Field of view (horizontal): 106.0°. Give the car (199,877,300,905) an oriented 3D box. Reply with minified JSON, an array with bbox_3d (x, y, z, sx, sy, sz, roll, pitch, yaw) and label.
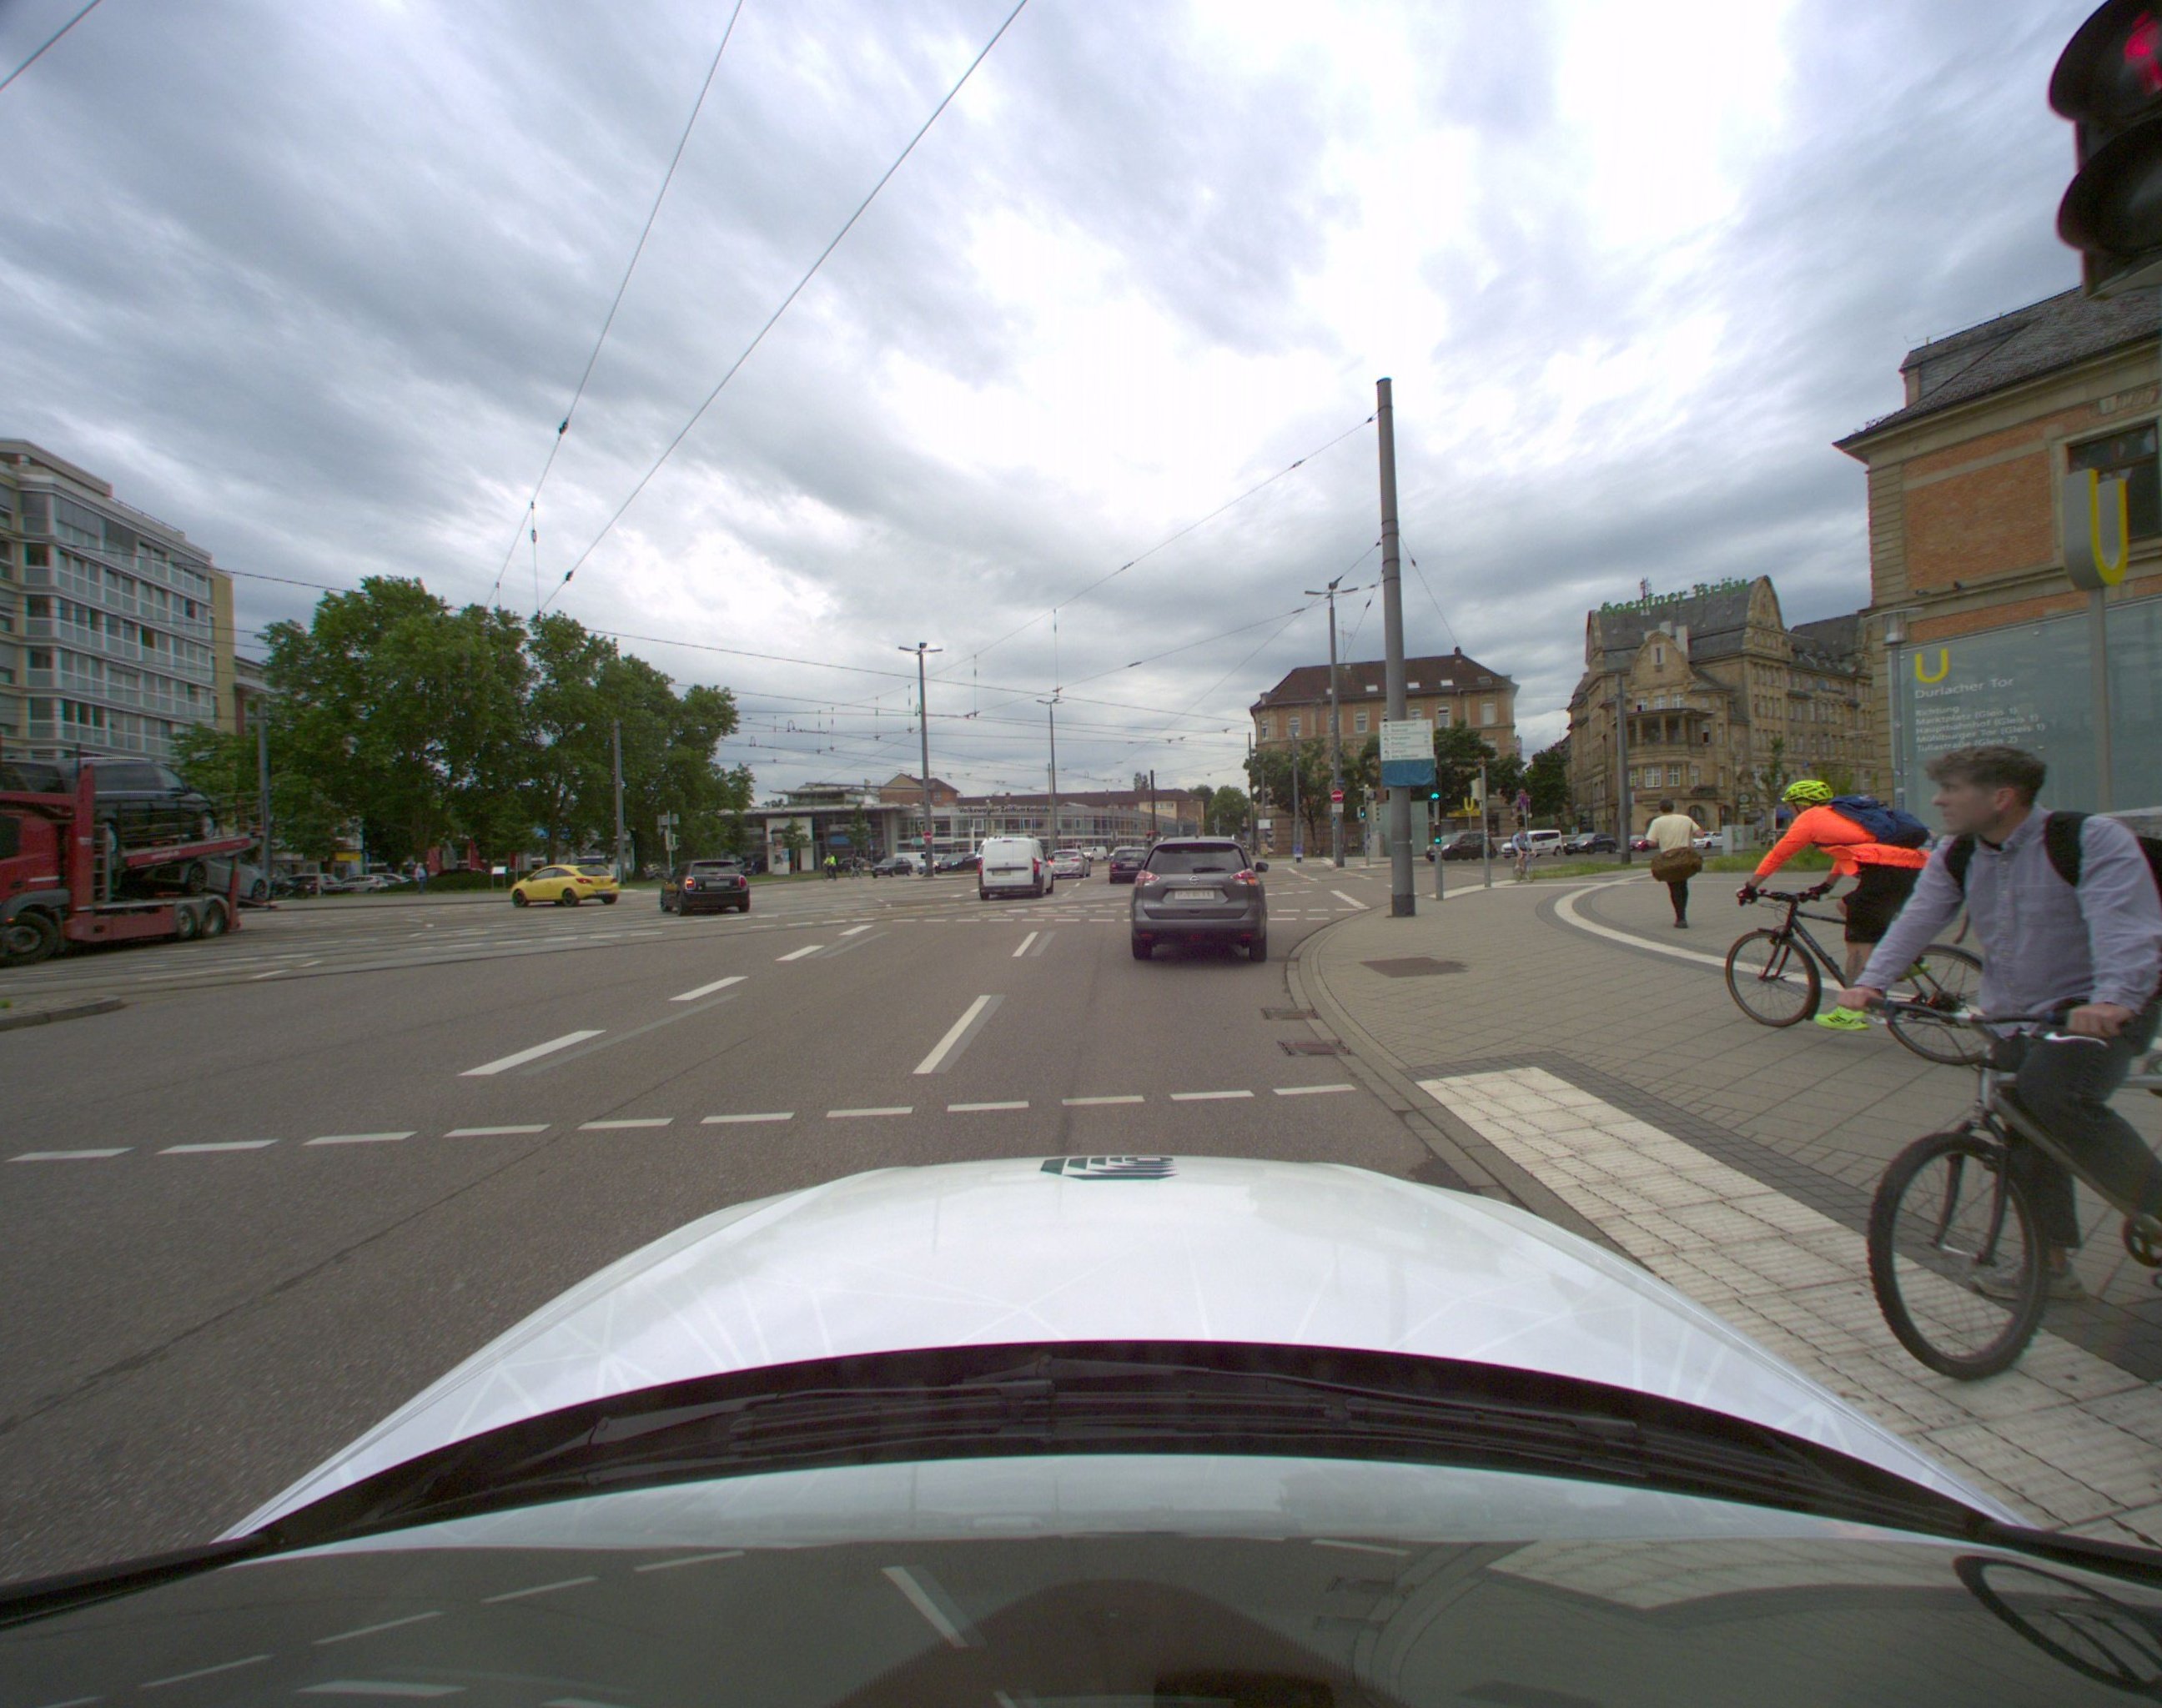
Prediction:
[{"bbox_3d":[-53.213,2.340,52.193,4.002,1.552,1.986,-2,0,-21],"label":"car"}]

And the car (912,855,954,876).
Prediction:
[{"bbox_3d":[-11.097,0.871,61.347,1.623,1.420,3.753,-2,0,15],"label":"car"}]

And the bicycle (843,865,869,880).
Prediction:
[{"bbox_3d":[-15.512,1.290,56.118,0.514,0.926,2.234,-2,1,19],"label":"bicycle"}]

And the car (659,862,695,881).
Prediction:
[{"bbox_3d":[-46.242,1.994,93.274,1.985,2.013,4.004,-1,0,4],"label":"car"}]

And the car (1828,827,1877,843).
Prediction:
[{"bbox_3d":[70.443,-1.730,74.346,4.267,1.380,1.916,-2,0,-27],"label":"car"}]

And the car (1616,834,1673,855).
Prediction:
[{"bbox_3d":[42.577,-0.736,61.536,3.903,1.399,1.853,-2,-2,-26],"label":"car"}]

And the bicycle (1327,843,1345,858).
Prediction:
[{"bbox_3d":[22.621,-0.321,72.173,0.948,1.354,3.140,-1,0,28],"label":"bicycle"}]

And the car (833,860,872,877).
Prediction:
[{"bbox_3d":[-21.400,1.311,76.448,1.622,1.420,3.755,-2,0,18],"label":"car"}]

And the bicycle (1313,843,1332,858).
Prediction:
[{"bbox_3d":[21.554,-0.306,72.607,0.948,1.354,3.140,-1,0,28],"label":"bicycle"}]

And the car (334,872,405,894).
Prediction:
[{"bbox_3d":[-59.222,2.392,67.896,4.003,1.706,1.985,-1,0,-22],"label":"car"}]

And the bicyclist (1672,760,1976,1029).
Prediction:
[{"bbox_3d":[5.047,0.246,5.659,0.825,1.621,1.320,-2,0,-4],"label":"bicyclist"}]

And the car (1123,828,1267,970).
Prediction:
[{"bbox_3d":[1.822,0.561,12.182,1.738,1.756,3.936,-2,0,12],"label":"car"}]

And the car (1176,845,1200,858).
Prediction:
[{"bbox_3d":[15.818,-0.422,120.082,1.975,1.839,4.550,-2,0,27],"label":"car"}]

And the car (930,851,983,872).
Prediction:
[{"bbox_3d":[-8.863,0.510,58.478,1.979,1.420,4.681,-2,0,15],"label":"car"}]

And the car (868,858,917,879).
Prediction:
[{"bbox_3d":[-12.988,0.991,56.241,1.674,1.247,3.753,-2,0,15],"label":"car"}]

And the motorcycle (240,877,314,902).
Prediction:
[{"bbox_3d":[-40.854,1.792,41.401,2.545,1.178,0.859,-1,0,-18],"label":"motorcycle"}]

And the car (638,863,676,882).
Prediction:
[{"bbox_3d":[-48.651,2.132,93.510,1.985,2.013,4.004,-1,0,4],"label":"car"}]

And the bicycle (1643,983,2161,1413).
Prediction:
[{"bbox_3d":[2.935,0.959,2.559,1.817,0.840,0.766,-4,0,-5],"label":"bicycle"}]

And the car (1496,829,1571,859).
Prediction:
[{"bbox_3d":[31.108,-0.681,55.910,5.109,1.916,1.853,-2,0,-25],"label":"car"}]

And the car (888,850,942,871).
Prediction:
[{"bbox_3d":[-16.507,0.686,80.945,4.730,2.013,2.130,-1,0,15],"label":"car"}]

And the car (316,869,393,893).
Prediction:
[{"bbox_3d":[-56.801,2.117,63.756,4.003,1.706,1.985,-1,0,-22],"label":"car"}]

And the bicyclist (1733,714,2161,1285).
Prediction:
[{"bbox_3d":[2.952,0.377,2.608,1.095,1.520,0.759,-2,0,-4],"label":"bicyclist"}]

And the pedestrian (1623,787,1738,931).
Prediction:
[{"bbox_3d":[8.310,0.070,11.355,0.877,1.867,1.292,-2,0,18],"label":"pedestrian"}]

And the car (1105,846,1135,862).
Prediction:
[{"bbox_3d":[4.875,-0.070,101.100,1.975,1.839,4.550,-2,0,27],"label":"car"}]

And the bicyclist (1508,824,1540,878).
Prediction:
[{"bbox_3d":[13.508,-0.095,24.811,0.684,1.560,0.932,-4,0,34],"label":"bicyclist"}]

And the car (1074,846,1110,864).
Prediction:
[{"bbox_3d":[1.311,0.072,94.054,2.137,1.856,5.479,-2,0,24],"label":"car"}]

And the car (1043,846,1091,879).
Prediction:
[{"bbox_3d":[-0.640,0.397,40.240,1.843,1.508,4.007,-1,0,6],"label":"car"}]

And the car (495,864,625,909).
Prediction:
[{"bbox_3d":[-18.568,1.137,29.037,3.954,1.494,1.833,-1,0,20],"label":"car"}]

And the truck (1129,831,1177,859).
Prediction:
[{"bbox_3d":[9.833,-1.176,110.214,2.767,3.549,9.281,-1,0,30],"label":"truck"}]

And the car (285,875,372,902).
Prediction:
[{"bbox_3d":[-52.648,2.383,57.072,4.003,1.706,1.985,-1,0,-22],"label":"car"}]

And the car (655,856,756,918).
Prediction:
[{"bbox_3d":[-10.296,0.847,22.165,1.783,1.468,3.956,-2,0,-35],"label":"car"}]

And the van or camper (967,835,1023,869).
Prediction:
[{"bbox_3d":[-6.844,-0.168,65.884,2.397,2.611,6.077,-1,0,16],"label":"van or camper"}]

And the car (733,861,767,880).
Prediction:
[{"bbox_3d":[-37.793,1.849,93.156,1.985,2.013,4.004,-1,0,4],"label":"car"}]

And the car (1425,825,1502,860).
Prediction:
[{"bbox_3d":[22.448,-0.674,47.798,4.395,1.900,1.680,-2,0,-26],"label":"car"}]

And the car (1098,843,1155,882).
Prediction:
[{"bbox_3d":[1.904,0.323,32.997,1.983,1.420,4.008,-2,0,7],"label":"car"}]

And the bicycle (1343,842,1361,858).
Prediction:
[{"bbox_3d":[23.832,-0.338,71.701,0.948,1.354,3.140,-1,0,28],"label":"bicycle"}]

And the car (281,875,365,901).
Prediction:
[{"bbox_3d":[-55.404,2.458,59.606,4.003,1.706,1.985,-1,0,-22],"label":"car"}]

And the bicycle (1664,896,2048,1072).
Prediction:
[{"bbox_3d":[5.081,0.780,5.590,0.555,0.848,2.071,-2,0,-4],"label":"bicycle"}]

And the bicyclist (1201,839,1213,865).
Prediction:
[{"bbox_3d":[8.332,-0.133,53.950,0.684,1.708,0.799,-2,0,3],"label":"bicyclist"}]

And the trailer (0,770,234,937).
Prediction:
[{"bbox_3d":[-28.061,0.039,22.166,9.447,3.973,3.010,-1,0,17],"label":"trailer"}]

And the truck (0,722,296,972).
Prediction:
[{"bbox_3d":[-20.220,-0.060,16.389,3.019,3.920,10.372,-1,0,-24],"label":"truck"}]

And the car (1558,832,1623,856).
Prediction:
[{"bbox_3d":[36.655,-0.739,58.594,4.309,1.534,1.853,-2,-2,-25],"label":"car"}]

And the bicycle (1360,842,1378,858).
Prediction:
[{"bbox_3d":[25.287,-0.359,71.524,0.948,1.354,3.140,-1,0,28],"label":"bicycle"}]

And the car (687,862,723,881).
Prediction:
[{"bbox_3d":[-43.123,1.989,93.514,1.985,2.013,4.004,-1,0,4],"label":"car"}]

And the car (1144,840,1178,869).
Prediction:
[{"bbox_3d":[5.800,0.046,58.465,1.980,2.013,4.013,-1,0,12],"label":"car"}]

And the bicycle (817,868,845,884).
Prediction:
[{"bbox_3d":[-16.373,1.453,53.455,0.514,0.930,2.234,-2,1,19],"label":"bicycle"}]

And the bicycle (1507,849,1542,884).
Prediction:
[{"bbox_3d":[13.519,0.368,24.806,0.664,0.933,1.871,-5,0,35],"label":"bicycle"}]

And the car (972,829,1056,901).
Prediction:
[{"bbox_3d":[-1.918,0.297,24.635,1.904,1.940,4.135,-2,0,4],"label":"car"}]

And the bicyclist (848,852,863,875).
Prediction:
[{"bbox_3d":[-15.552,0.653,56.104,0.561,1.508,0.861,-2,1,19],"label":"bicyclist"}]

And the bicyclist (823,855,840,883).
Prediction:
[{"bbox_3d":[-16.357,1.006,53.426,0.622,1.803,0.801,-2,0,19],"label":"bicyclist"}]

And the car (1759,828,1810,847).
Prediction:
[{"bbox_3d":[56.082,-1.303,64.913,4.008,1.442,1.680,-2,0,-26],"label":"car"}]

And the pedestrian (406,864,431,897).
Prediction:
[{"bbox_3d":[-35.278,1.416,43.398,0.918,1.719,0.700,-1,0,-30],"label":"pedestrian"}]
